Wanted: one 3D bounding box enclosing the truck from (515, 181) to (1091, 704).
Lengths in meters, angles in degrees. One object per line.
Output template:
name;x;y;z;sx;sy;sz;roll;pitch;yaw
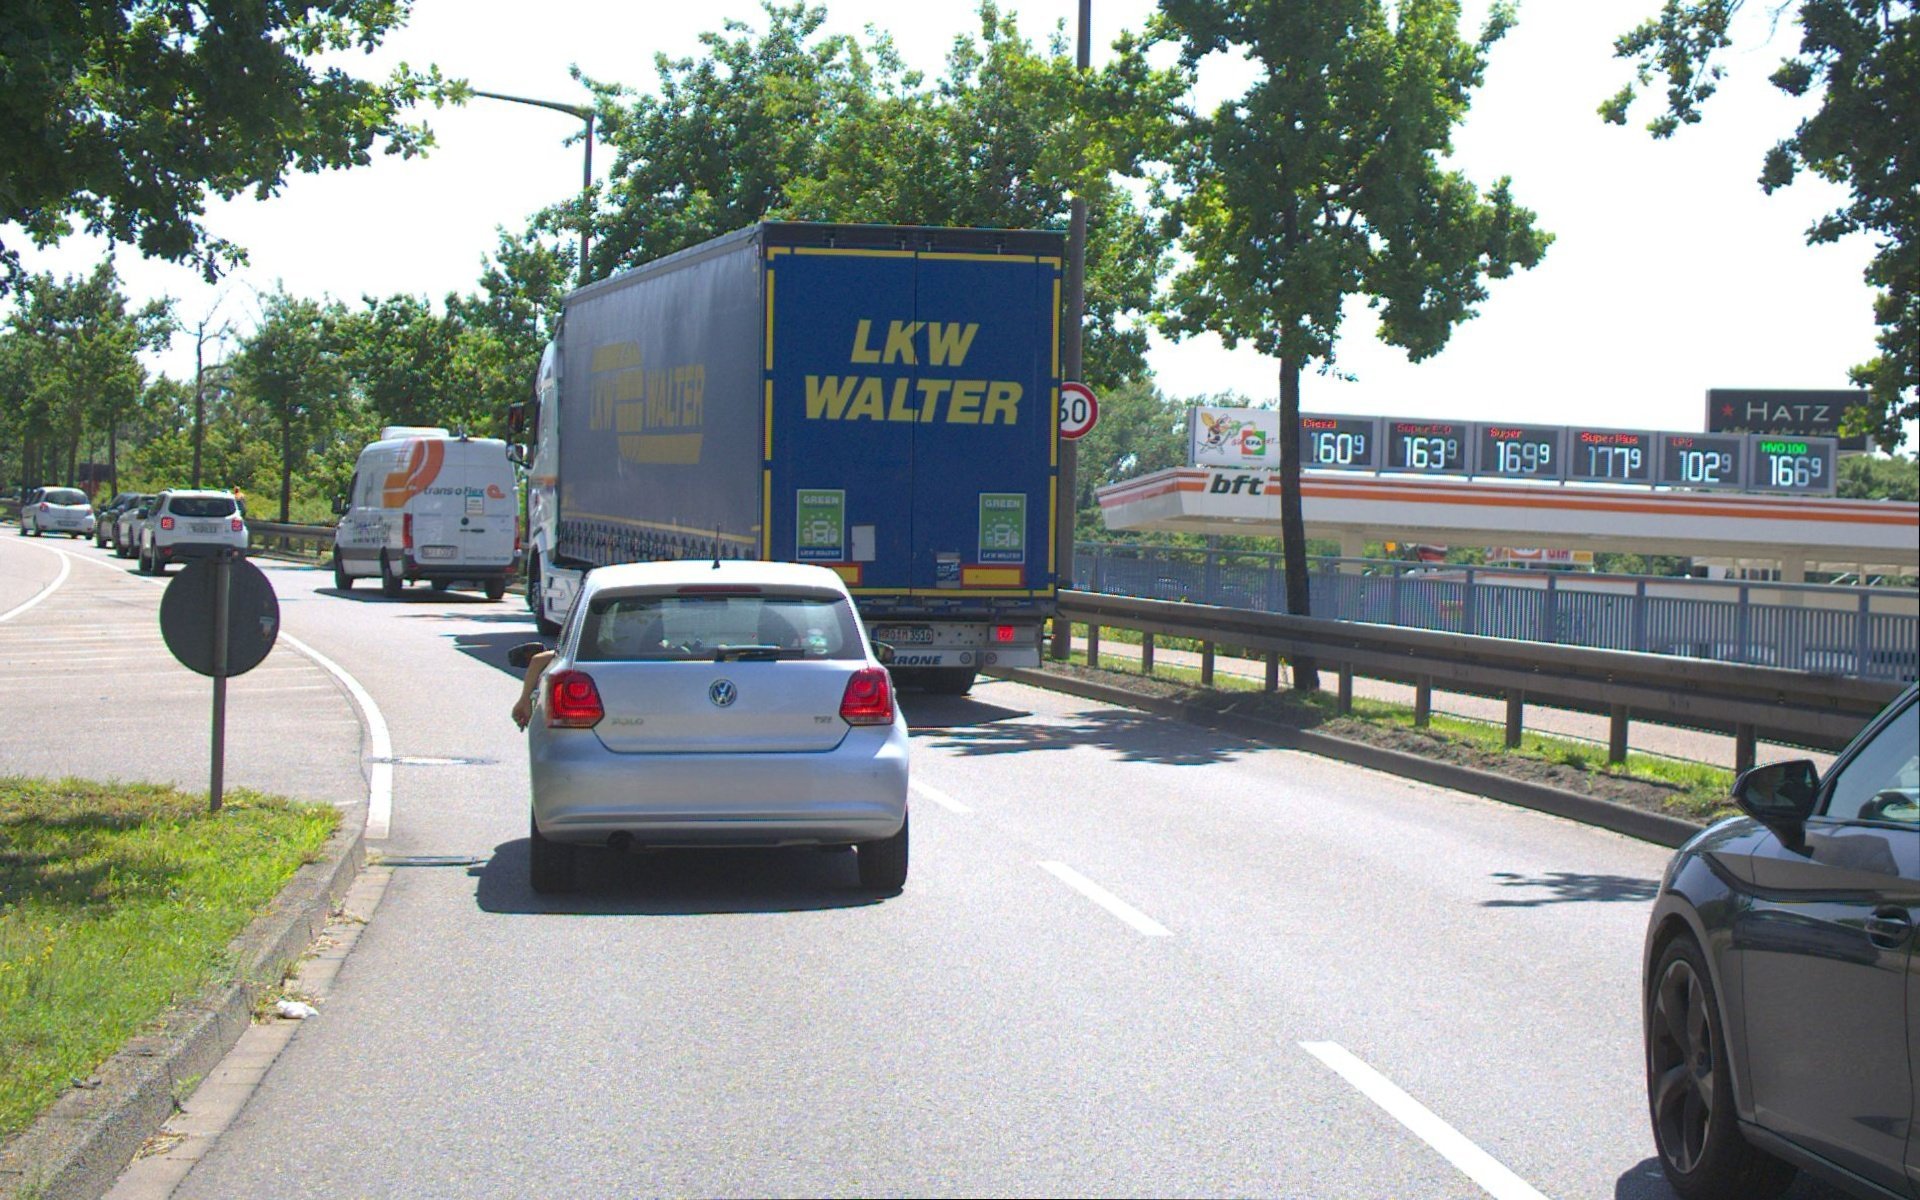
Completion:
truck;-2.296;-1.381;36.135;2.832;4.184;16.479;1;0;-14

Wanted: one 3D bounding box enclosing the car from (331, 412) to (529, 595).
car;-9.112;-1.649;58.568;2.175;2.890;6.360;1;1;-19

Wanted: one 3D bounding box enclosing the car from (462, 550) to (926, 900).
car;-1.352;0.530;16.116;1.645;1.434;3.538;1;0;-13

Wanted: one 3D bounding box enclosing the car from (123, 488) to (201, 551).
car;-18.307;-1.829;78.767;1.494;1.355;3.664;1;1;-16

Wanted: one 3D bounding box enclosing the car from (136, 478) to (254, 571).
car;-15.209;-1.464;68.205;1.903;1.712;4.225;1;0;-17

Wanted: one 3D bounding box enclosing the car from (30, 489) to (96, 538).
car;-26.272;-2.520;100.649;1.607;1.355;3.664;1;1;-18

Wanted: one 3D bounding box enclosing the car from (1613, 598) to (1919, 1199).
car;2.592;0.740;6.379;1.604;1.451;4.236;1;0;-5
